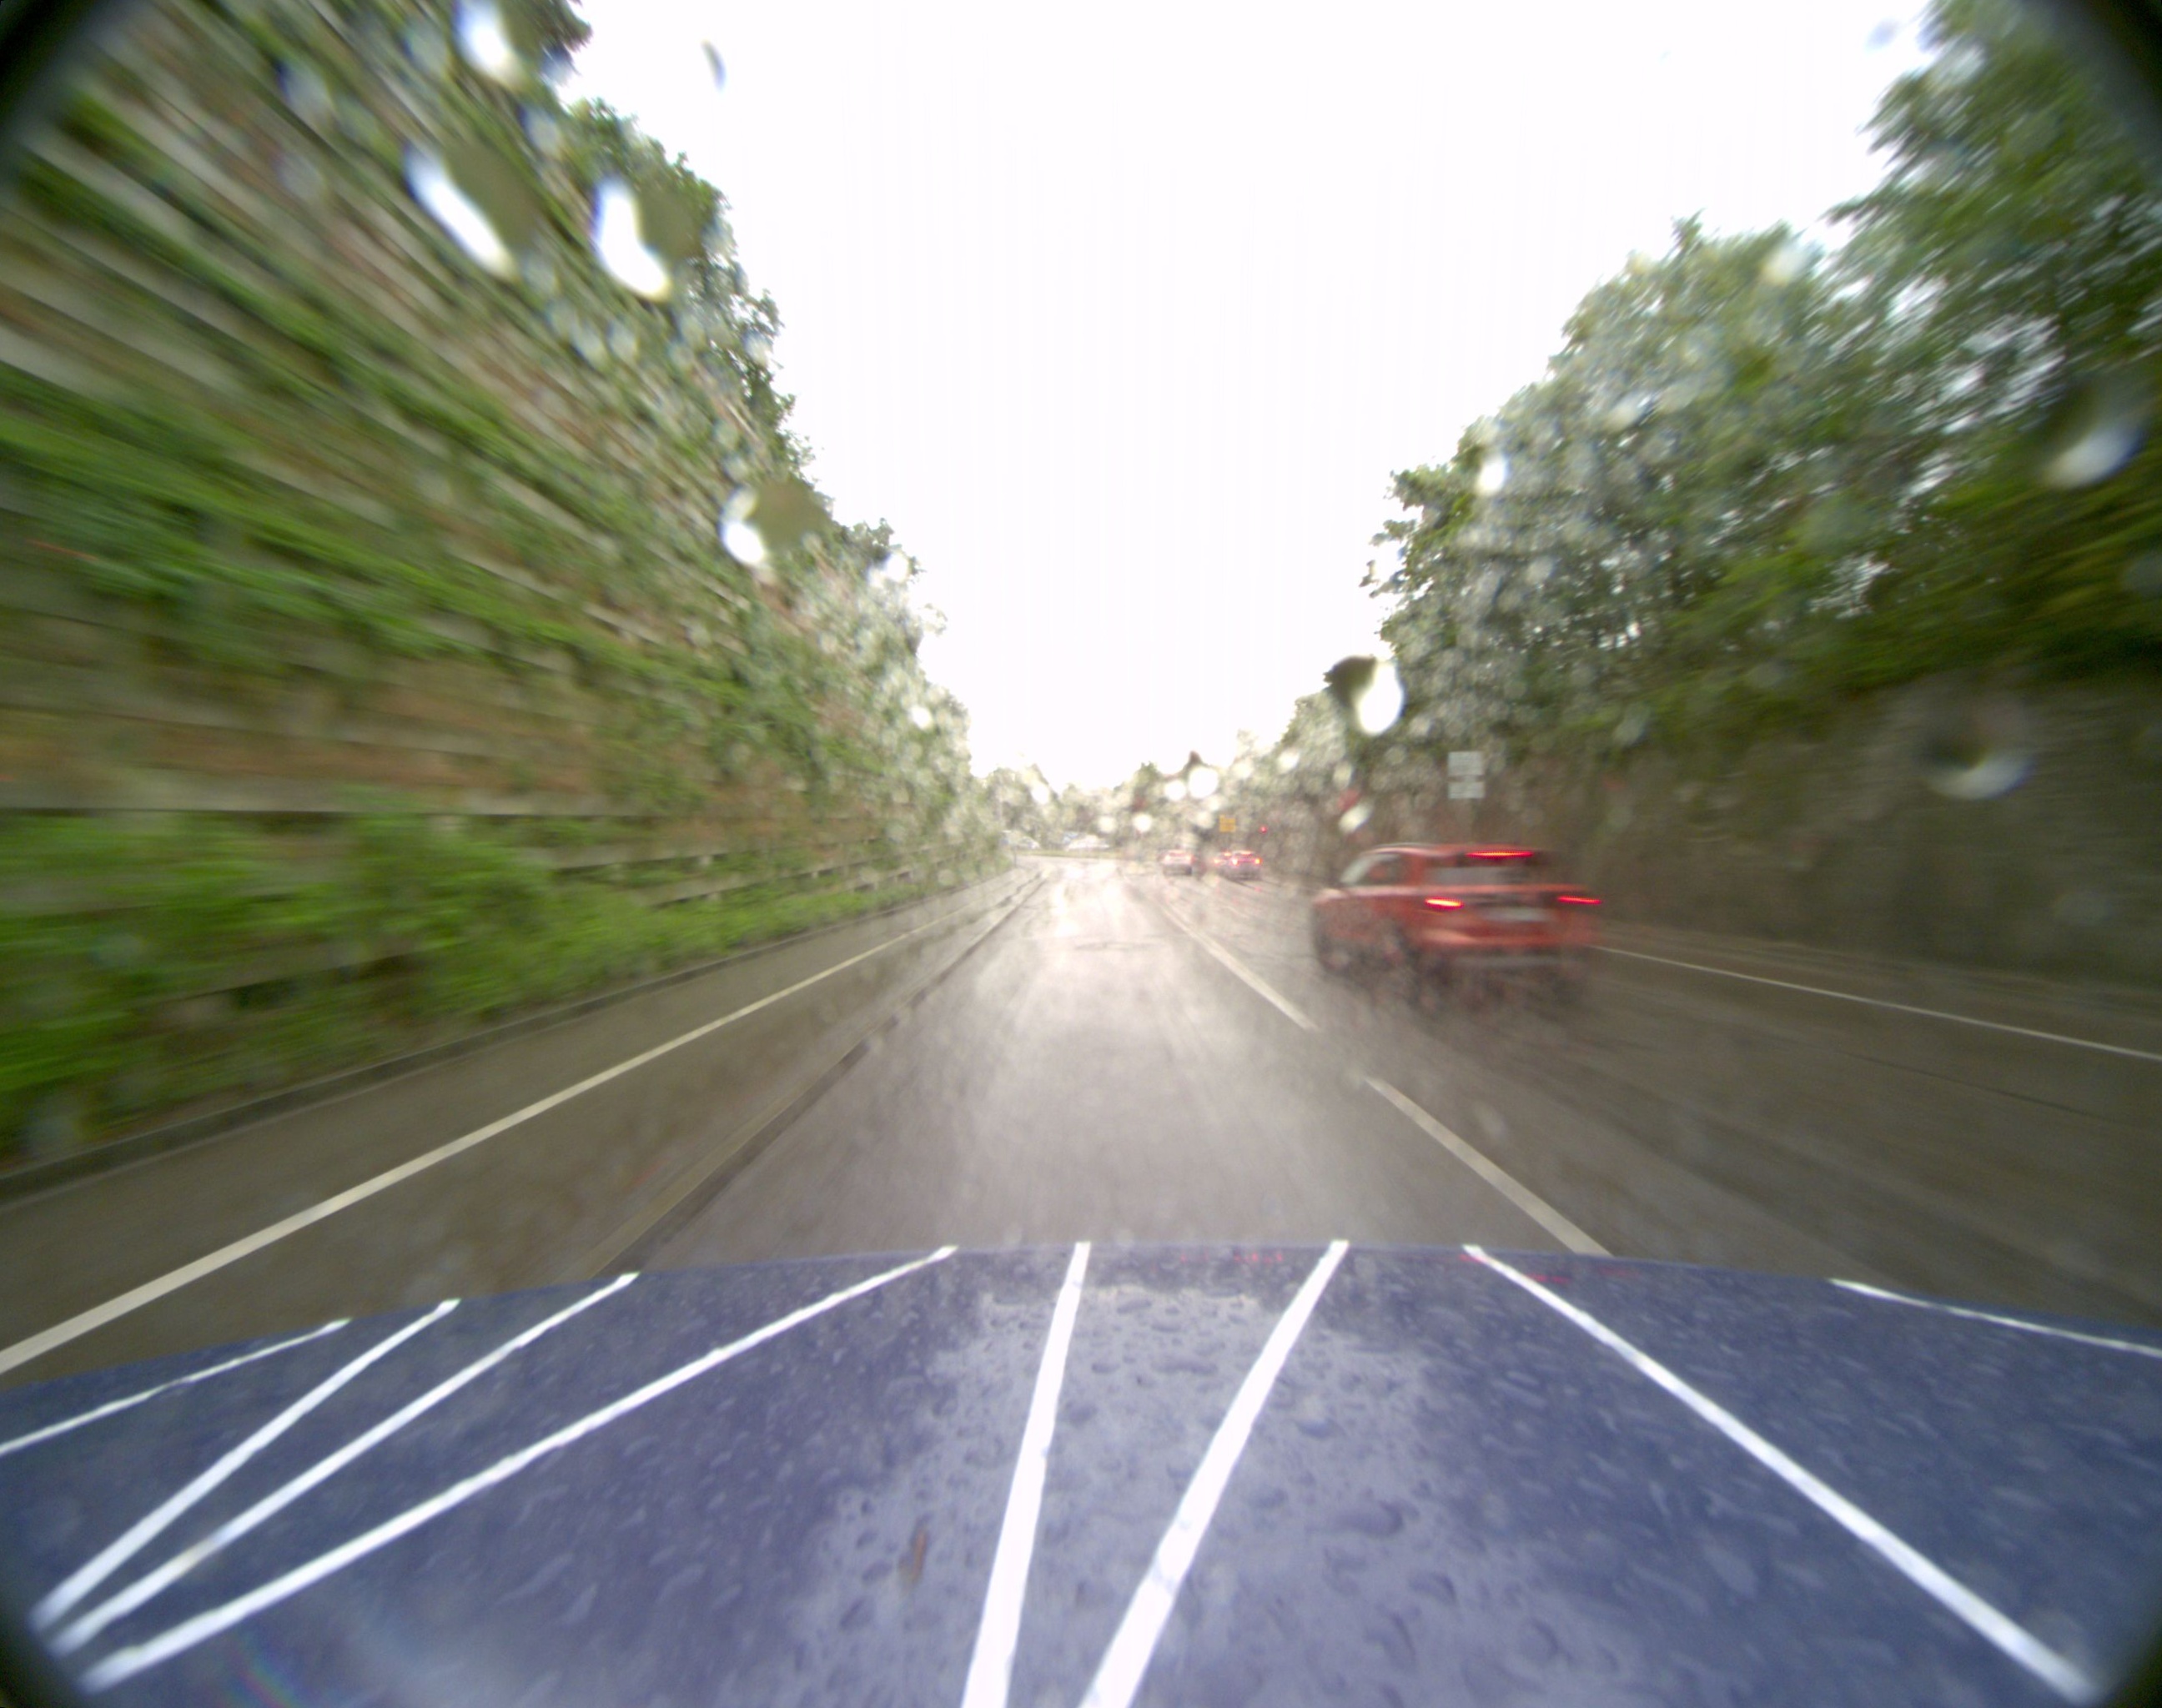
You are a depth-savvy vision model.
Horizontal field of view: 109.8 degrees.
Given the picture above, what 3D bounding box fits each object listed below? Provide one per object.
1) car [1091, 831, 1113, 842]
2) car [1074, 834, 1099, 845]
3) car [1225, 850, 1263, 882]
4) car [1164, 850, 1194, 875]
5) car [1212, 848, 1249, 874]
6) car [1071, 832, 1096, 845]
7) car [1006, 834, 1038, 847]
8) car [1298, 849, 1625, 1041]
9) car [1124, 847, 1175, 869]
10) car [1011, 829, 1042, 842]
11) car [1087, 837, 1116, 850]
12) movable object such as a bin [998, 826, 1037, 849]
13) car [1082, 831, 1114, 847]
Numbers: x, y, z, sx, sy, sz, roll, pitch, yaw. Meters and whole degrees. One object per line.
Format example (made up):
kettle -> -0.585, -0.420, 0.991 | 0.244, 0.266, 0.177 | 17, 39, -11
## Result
car -> 3.353, -2.827, 121.382 | 3.478, 1.531, 1.447 | 3, 2, -2
car -> 0.923, -2.331, 124.090 | 3.880, 1.619, 1.693 | 3, 2, -4
car -> 9.291, 0.655, 43.546 | 1.818, 1.648, 4.052 | 0, 2, 8
car -> 6.445, 0.540, 50.137 | 1.872, 1.592, 4.002 | 0, 0, 7
car -> 9.918, 0.424, 50.711 | 1.997, 1.494, 4.730 | 3, 2, 6
car -> 0.370, -2.593, 126.508 | 3.961, 1.869, 1.693 | 3, 2, -4
car -> -7.923, -1.855, 101.965 | 3.997, 1.565, 1.670 | 3, 2, 0
car -> 3.859, 0.778, 8.586 | 1.737, 1.609, 3.999 | 0, 1, 1
car -> 6.175, 0.336, 68.605 | 4.384, 1.867, 1.938 | 0, 1, 11
car -> -8.151, -2.828, 114.189 | 4.386, 1.756, 1.921 | 3, 2, 1
car -> 2.755, -1.422, 102.186 | 3.822, 1.559, 1.774 | 3, 2, 0
movable object such as a bin -> -8.033, -2.123, 96.153 | 2.316, 2.671, 5.686 | 1, 1, -35
car -> 2.342, -2.096, 104.555 | 4.232, 1.969, 1.903 | 3, 2, 0
